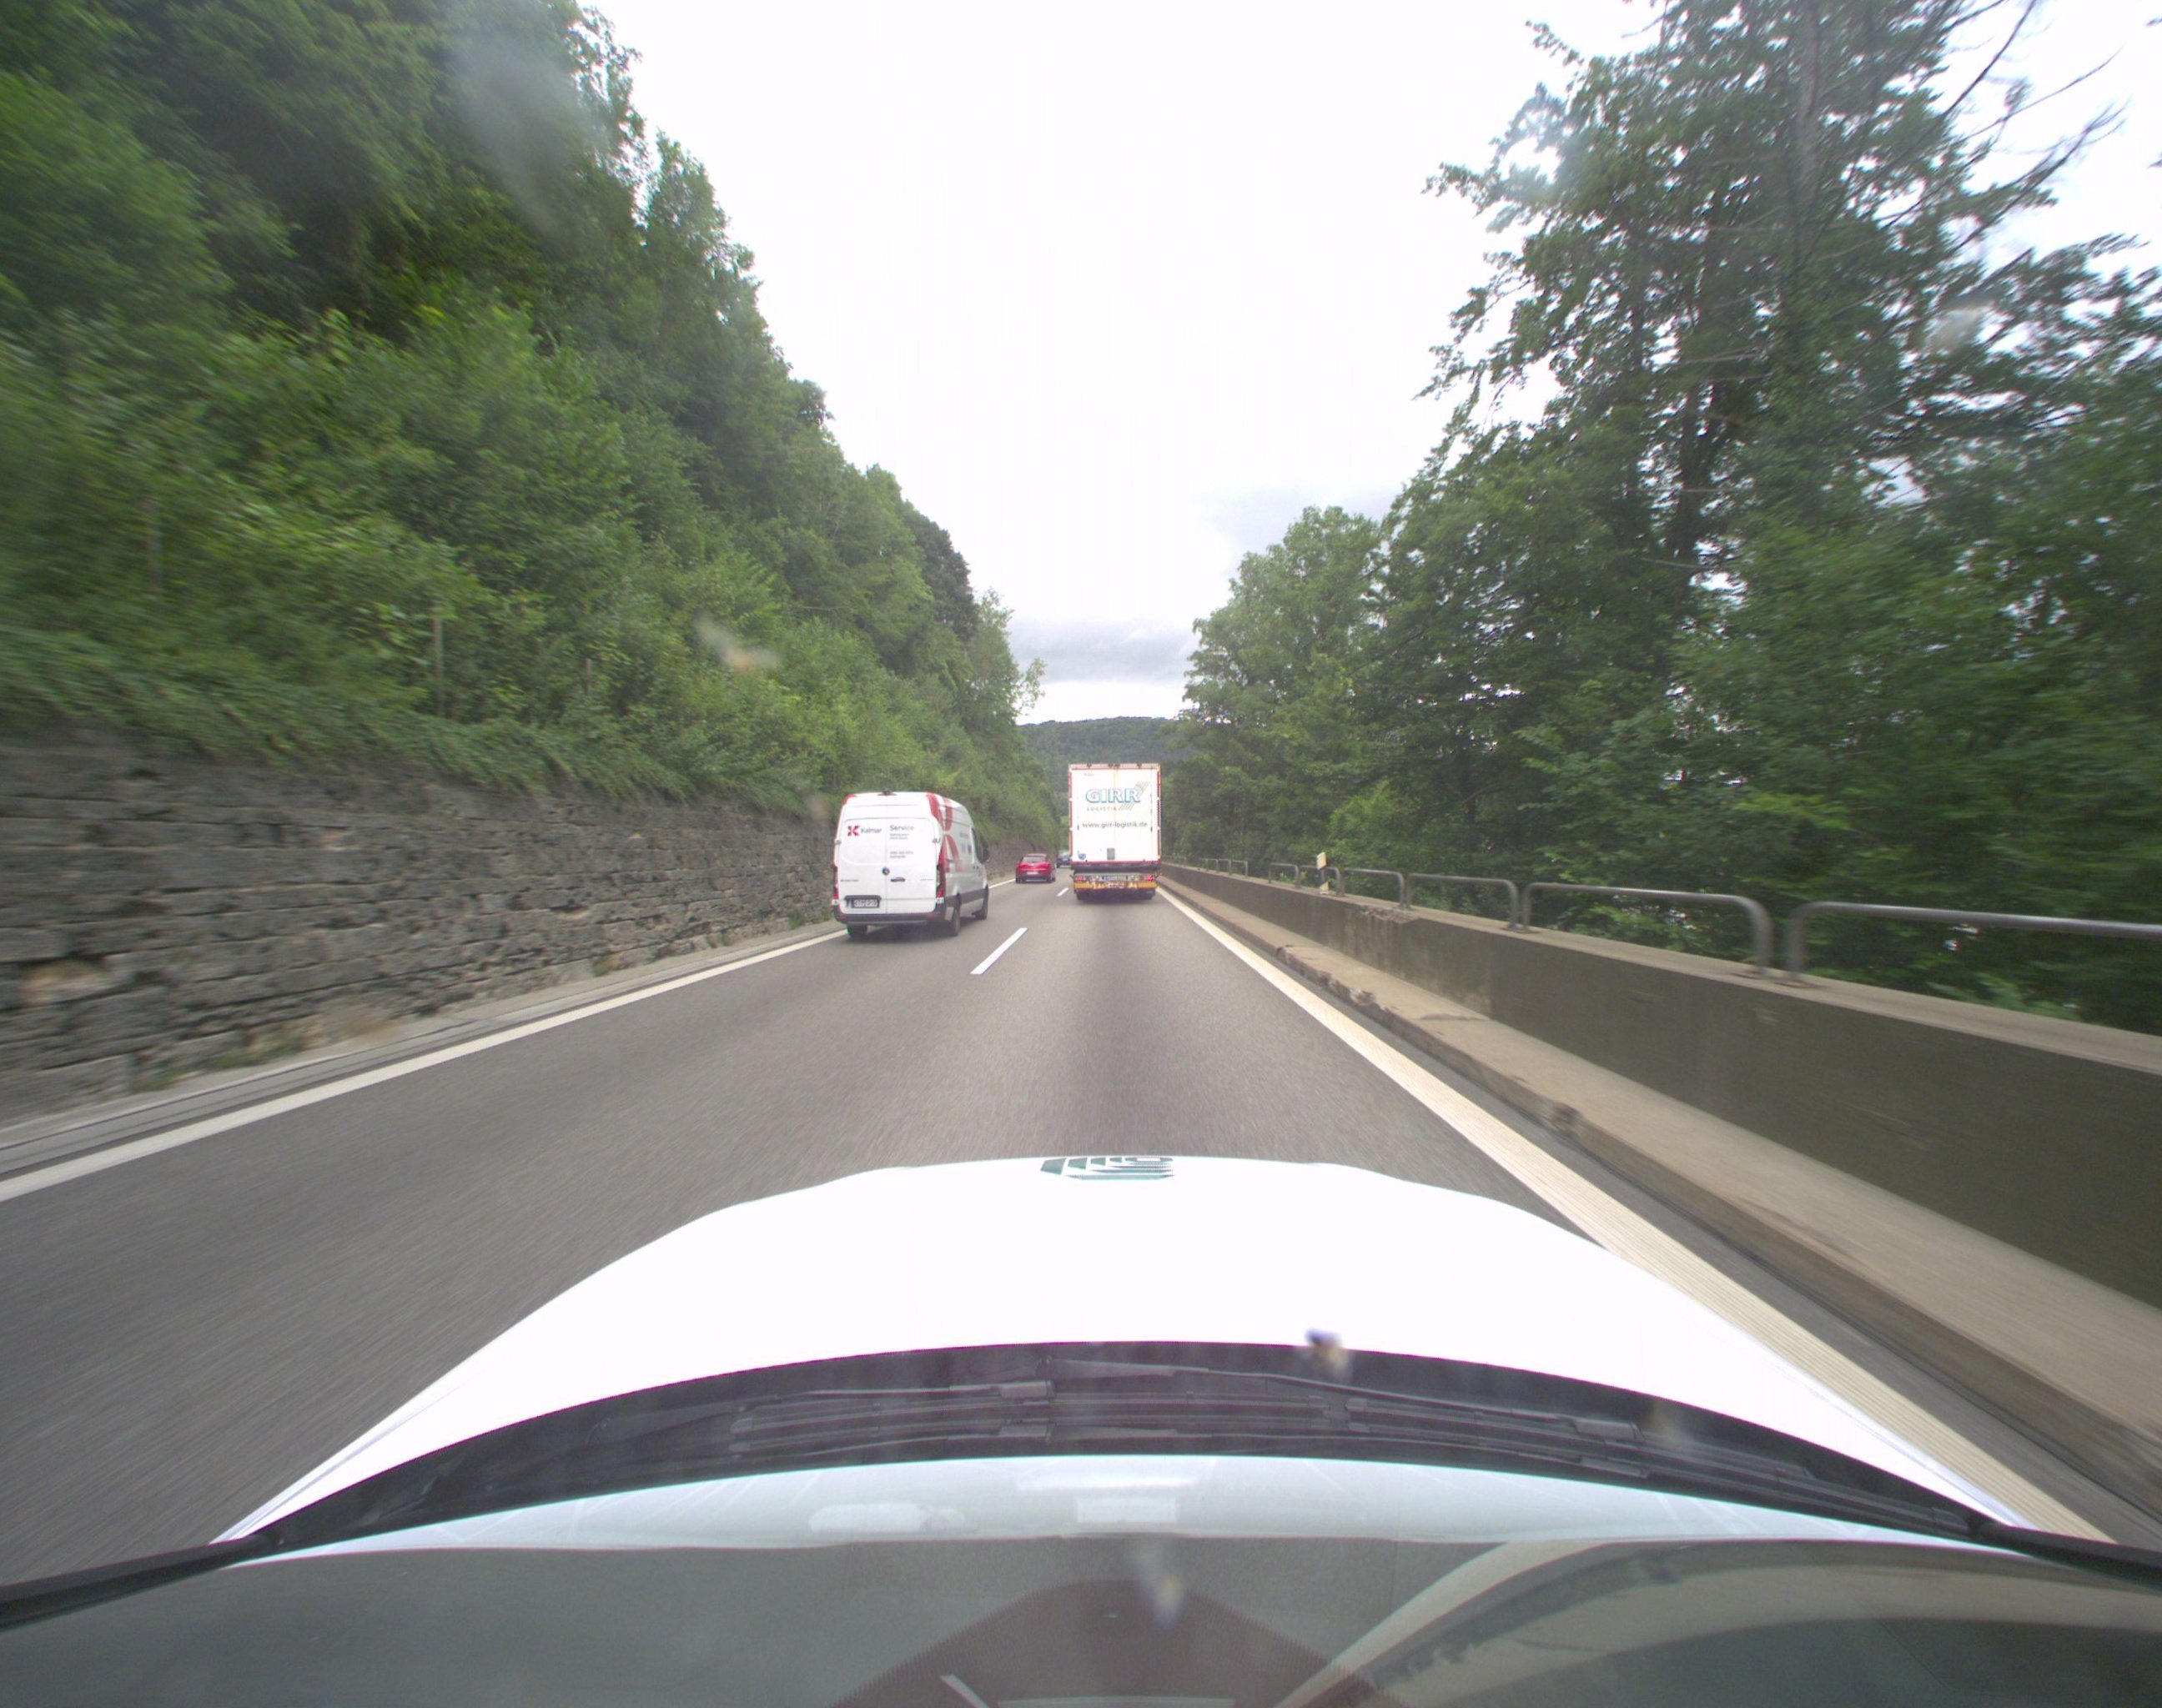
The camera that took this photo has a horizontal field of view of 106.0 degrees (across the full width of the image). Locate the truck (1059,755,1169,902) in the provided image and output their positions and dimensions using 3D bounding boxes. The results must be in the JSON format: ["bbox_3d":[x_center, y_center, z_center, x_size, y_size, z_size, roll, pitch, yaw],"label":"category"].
[{"bbox_3d":[1.128,-0.696,26.883,2.897,3.960,9.285,-1,0,3],"label":"truck"}]

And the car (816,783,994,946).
[{"bbox_3d":[-3.174,0.178,16.272,2.019,2.585,6.275,-1,0,1],"label":"car"}]

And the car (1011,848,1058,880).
[{"bbox_3d":[-2.268,0.476,40.696,1.759,1.460,4.415,-2,0,3],"label":"car"}]

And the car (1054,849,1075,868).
[{"bbox_3d":[-1.476,0.396,74.822,1.662,1.638,4.070,-1,0,2],"label":"car"}]
